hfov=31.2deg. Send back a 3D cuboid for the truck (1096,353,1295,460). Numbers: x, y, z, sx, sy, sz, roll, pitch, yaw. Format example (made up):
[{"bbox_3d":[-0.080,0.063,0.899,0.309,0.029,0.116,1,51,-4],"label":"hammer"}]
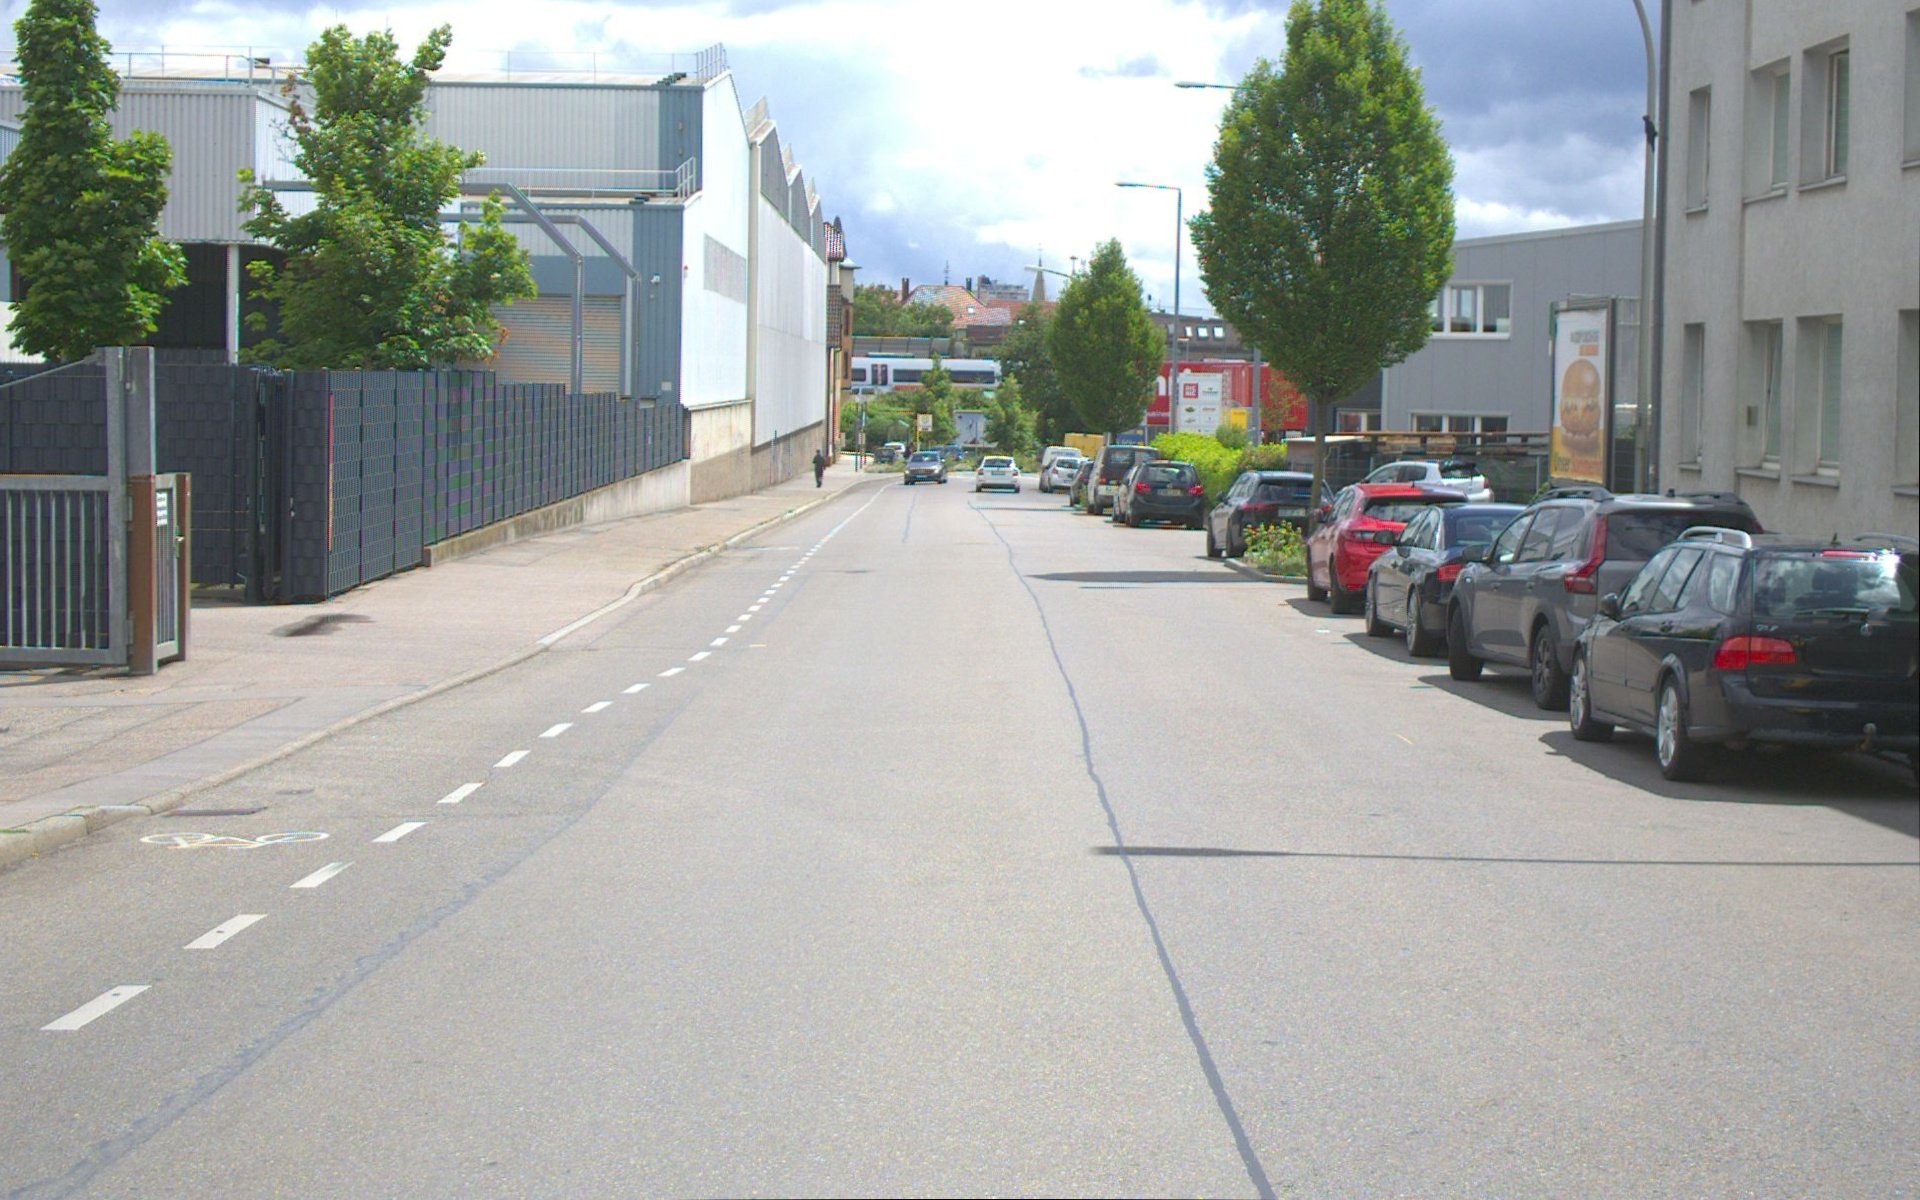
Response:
[{"bbox_3d":[10.606,-8.702,154.882,8.459,4.654,2.580,1,0,21],"label":"truck"}]

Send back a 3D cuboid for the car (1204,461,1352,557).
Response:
[{"bbox_3d":[5.073,-1.483,55.433,1.791,1.460,4.709,1,2,-2],"label":"car"}]

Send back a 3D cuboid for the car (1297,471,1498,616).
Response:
[{"bbox_3d":[4.963,-0.694,39.468,1.735,1.467,4.262,1,3,0],"label":"car"}]

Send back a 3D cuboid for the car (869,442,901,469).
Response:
[{"bbox_3d":[-4.538,-8.765,208.107,1.852,1.481,4.000,1,1,-1],"label":"car"}]

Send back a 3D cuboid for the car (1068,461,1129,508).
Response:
[{"bbox_3d":[4.451,-3.735,110.767,1.714,1.468,4.512,1,2,-1],"label":"car"}]

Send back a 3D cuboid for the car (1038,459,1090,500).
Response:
[{"bbox_3d":[4.256,-4.961,141.149,1.701,1.522,3.739,4,2,-4],"label":"car"}]

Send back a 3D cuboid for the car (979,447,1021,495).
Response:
[{"bbox_3d":[1.562,-5.106,136.620,1.567,1.780,3.606,1,1,-1],"label":"car"}]

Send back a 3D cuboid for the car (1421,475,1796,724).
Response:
[{"bbox_3d":[5.012,-0.087,27.256,1.676,1.632,4.798,3,3,-4],"label":"car"}]

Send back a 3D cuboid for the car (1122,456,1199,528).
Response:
[{"bbox_3d":[4.766,-2.592,82.065,1.679,1.632,4.123,1,2,1],"label":"car"}]

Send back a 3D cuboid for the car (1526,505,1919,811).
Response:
[{"bbox_3d":[4.937,0.267,21.680,1.704,1.504,5.088,3,3,-1],"label":"car"}]

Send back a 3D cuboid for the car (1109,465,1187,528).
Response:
[{"bbox_3d":[4.740,-2.640,87.185,1.655,1.534,4.735,1,2,-1],"label":"car"}]

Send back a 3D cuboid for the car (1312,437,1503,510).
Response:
[{"bbox_3d":[9.819,-2.767,75.673,1.720,1.457,4.074,-4,3,-38],"label":"car"}]

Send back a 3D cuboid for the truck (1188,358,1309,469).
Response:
[{"bbox_3d":[12.362,-7.960,148.169,2.573,4.433,7.865,1,1,-15],"label":"truck"}]

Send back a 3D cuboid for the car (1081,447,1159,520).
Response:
[{"bbox_3d":[4.501,-3.308,97.128,1.869,1.983,5.144,1,2,-1],"label":"car"}]

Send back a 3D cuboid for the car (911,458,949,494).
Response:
[{"bbox_3d":[-1.437,-5.847,162.491,1.719,1.550,4.288,-2,1,-1],"label":"car"}]

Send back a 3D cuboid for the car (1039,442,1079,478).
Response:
[{"bbox_3d":[4.376,-6.194,151.858,1.701,1.522,3.738,1,2,1],"label":"car"}]

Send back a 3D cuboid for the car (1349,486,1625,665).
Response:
[{"bbox_3d":[4.920,-0.292,32.712,1.735,1.418,4.861,2,3,-1],"label":"car"}]
